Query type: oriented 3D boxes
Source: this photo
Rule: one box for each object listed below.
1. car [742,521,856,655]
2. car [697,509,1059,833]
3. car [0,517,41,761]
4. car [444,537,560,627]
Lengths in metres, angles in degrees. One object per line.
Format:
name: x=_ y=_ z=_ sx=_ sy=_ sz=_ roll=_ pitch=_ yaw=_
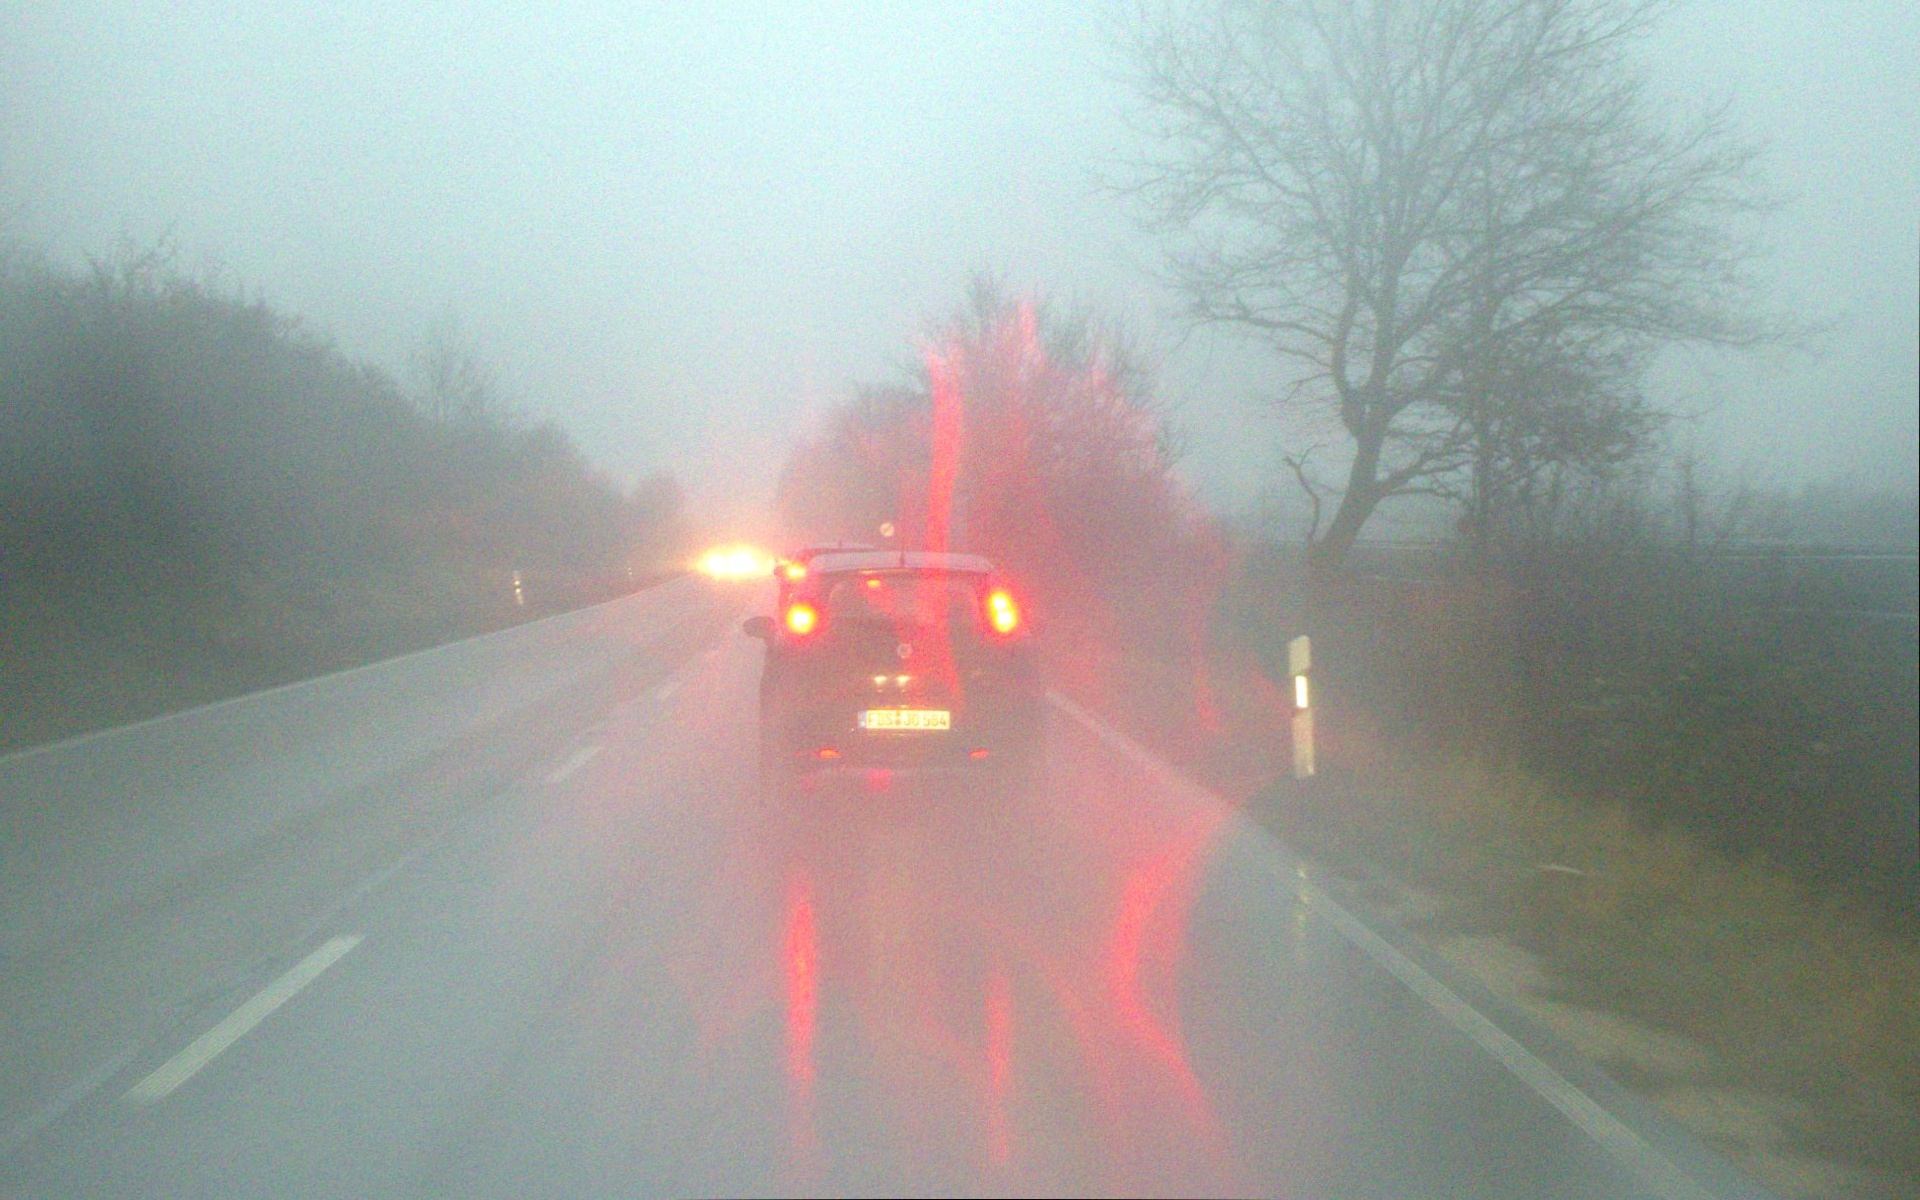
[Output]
car: x=-2.345 y=-0.183 z=50.425 sx=1.574 sy=1.868 sz=3.709 roll=1 pitch=1 yaw=-2
car: x=-0.533 y=0.378 z=21.231 sx=1.993 sy=1.778 sz=4.000 roll=1 pitch=1 yaw=-2
car: x=-7.176 y=0.283 z=21.801 sx=1.776 sy=1.603 sz=3.774 roll=-1 pitch=1 yaw=-2
car: x=-9.551 y=-0.386 z=71.916 sx=1.993 sy=1.778 sz=4.000 roll=1 pitch=1 yaw=-2
